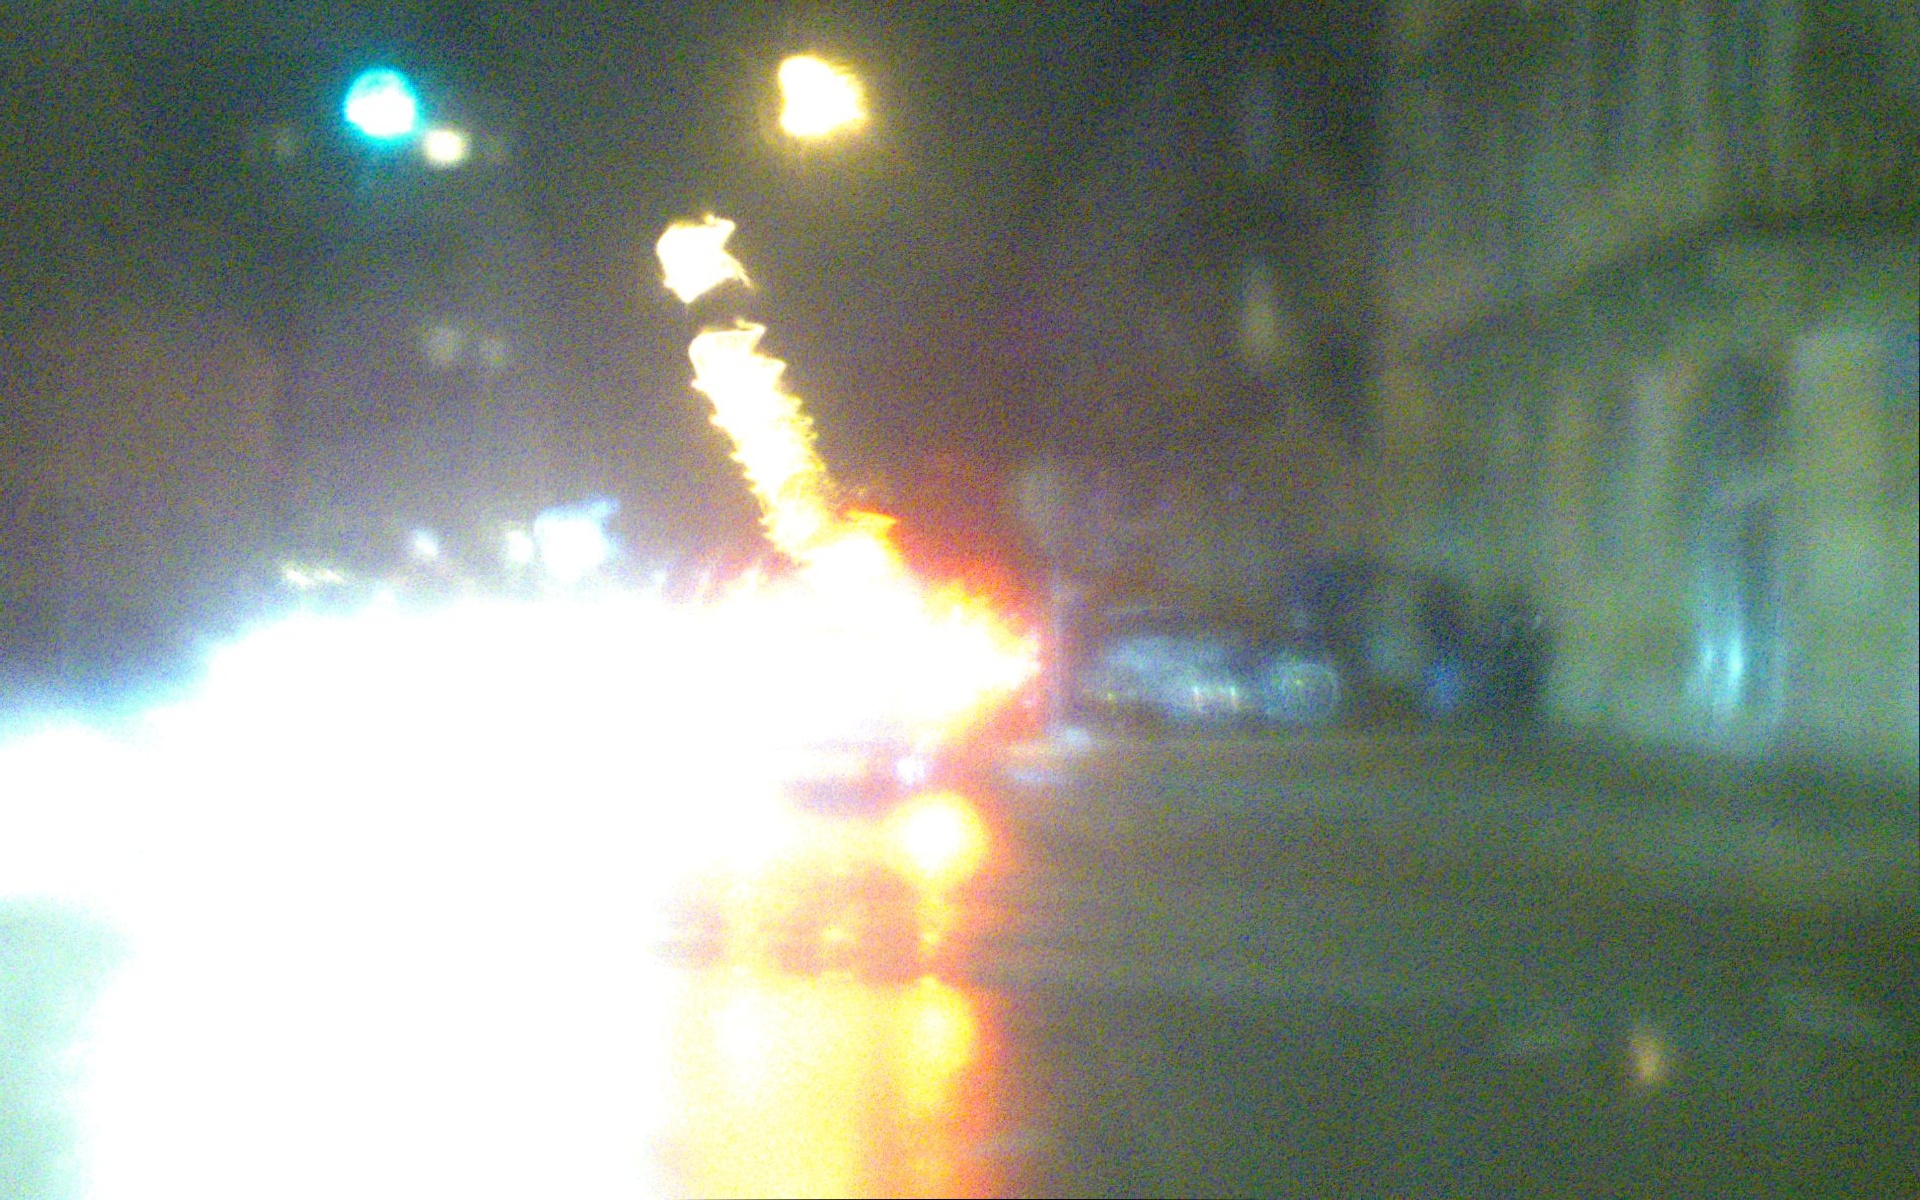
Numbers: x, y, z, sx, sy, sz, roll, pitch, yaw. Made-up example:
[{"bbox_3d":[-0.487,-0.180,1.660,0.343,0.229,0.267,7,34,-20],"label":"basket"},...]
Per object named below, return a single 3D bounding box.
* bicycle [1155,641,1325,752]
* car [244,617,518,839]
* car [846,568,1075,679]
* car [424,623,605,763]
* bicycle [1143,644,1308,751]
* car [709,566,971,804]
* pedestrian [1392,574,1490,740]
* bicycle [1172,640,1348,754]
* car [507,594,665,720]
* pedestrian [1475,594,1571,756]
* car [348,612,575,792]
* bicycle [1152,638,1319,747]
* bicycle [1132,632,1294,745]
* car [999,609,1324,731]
[{"bbox_3d":[3.324,1.141,40.852,1.896,1.247,0.596,-2,-1,-7],"label":"bicycle"},{"bbox_3d":[-4.334,0.912,26.214,1.706,1.537,3.989,0,0,-5],"label":"car"},{"bbox_3d":[0.032,0.507,78.698,4.995,2.383,2.139,-2,1,-40],"label":"car"},{"bbox_3d":[-4.850,0.985,37.847,1.668,1.416,4.098,0,0,-3],"label":"car"},{"bbox_3d":[3.250,1.189,42.137,1.896,1.247,0.596,-2,-1,-7],"label":"bicycle"},{"bbox_3d":[-1.080,0.703,30.637,2.168,1.965,4.302,0,0,-2],"label":"car"},{"bbox_3d":[5.519,0.645,39.489,0.957,1.875,1.000,0,0,-2],"label":"pedestrian"},{"bbox_3d":[3.475,1.119,39.941,1.896,1.247,0.710,-2,-1,-7],"label":"bicycle"},{"bbox_3d":[-4.829,0.710,44.912,1.787,1.549,4.855,0,0,-3],"label":"car"},{"bbox_3d":[5.715,0.752,34.957,0.781,1.612,1.000,0,0,-2],"label":"pedestrian"},{"bbox_3d":[-4.585,0.901,32.097,1.668,1.557,4.008,0,0,-2],"label":"car"},{"bbox_3d":[3.321,1.107,41.497,1.896,1.247,0.596,-2,-1,-7],"label":"bicycle"},{"bbox_3d":[3.151,1.098,42.905,1.896,1.355,0.596,-2,-1,-7],"label":"bicycle"},{"bbox_3d":[2.715,0.894,45.876,4.173,1.452,1.856,-2,1,-40],"label":"car"}]
